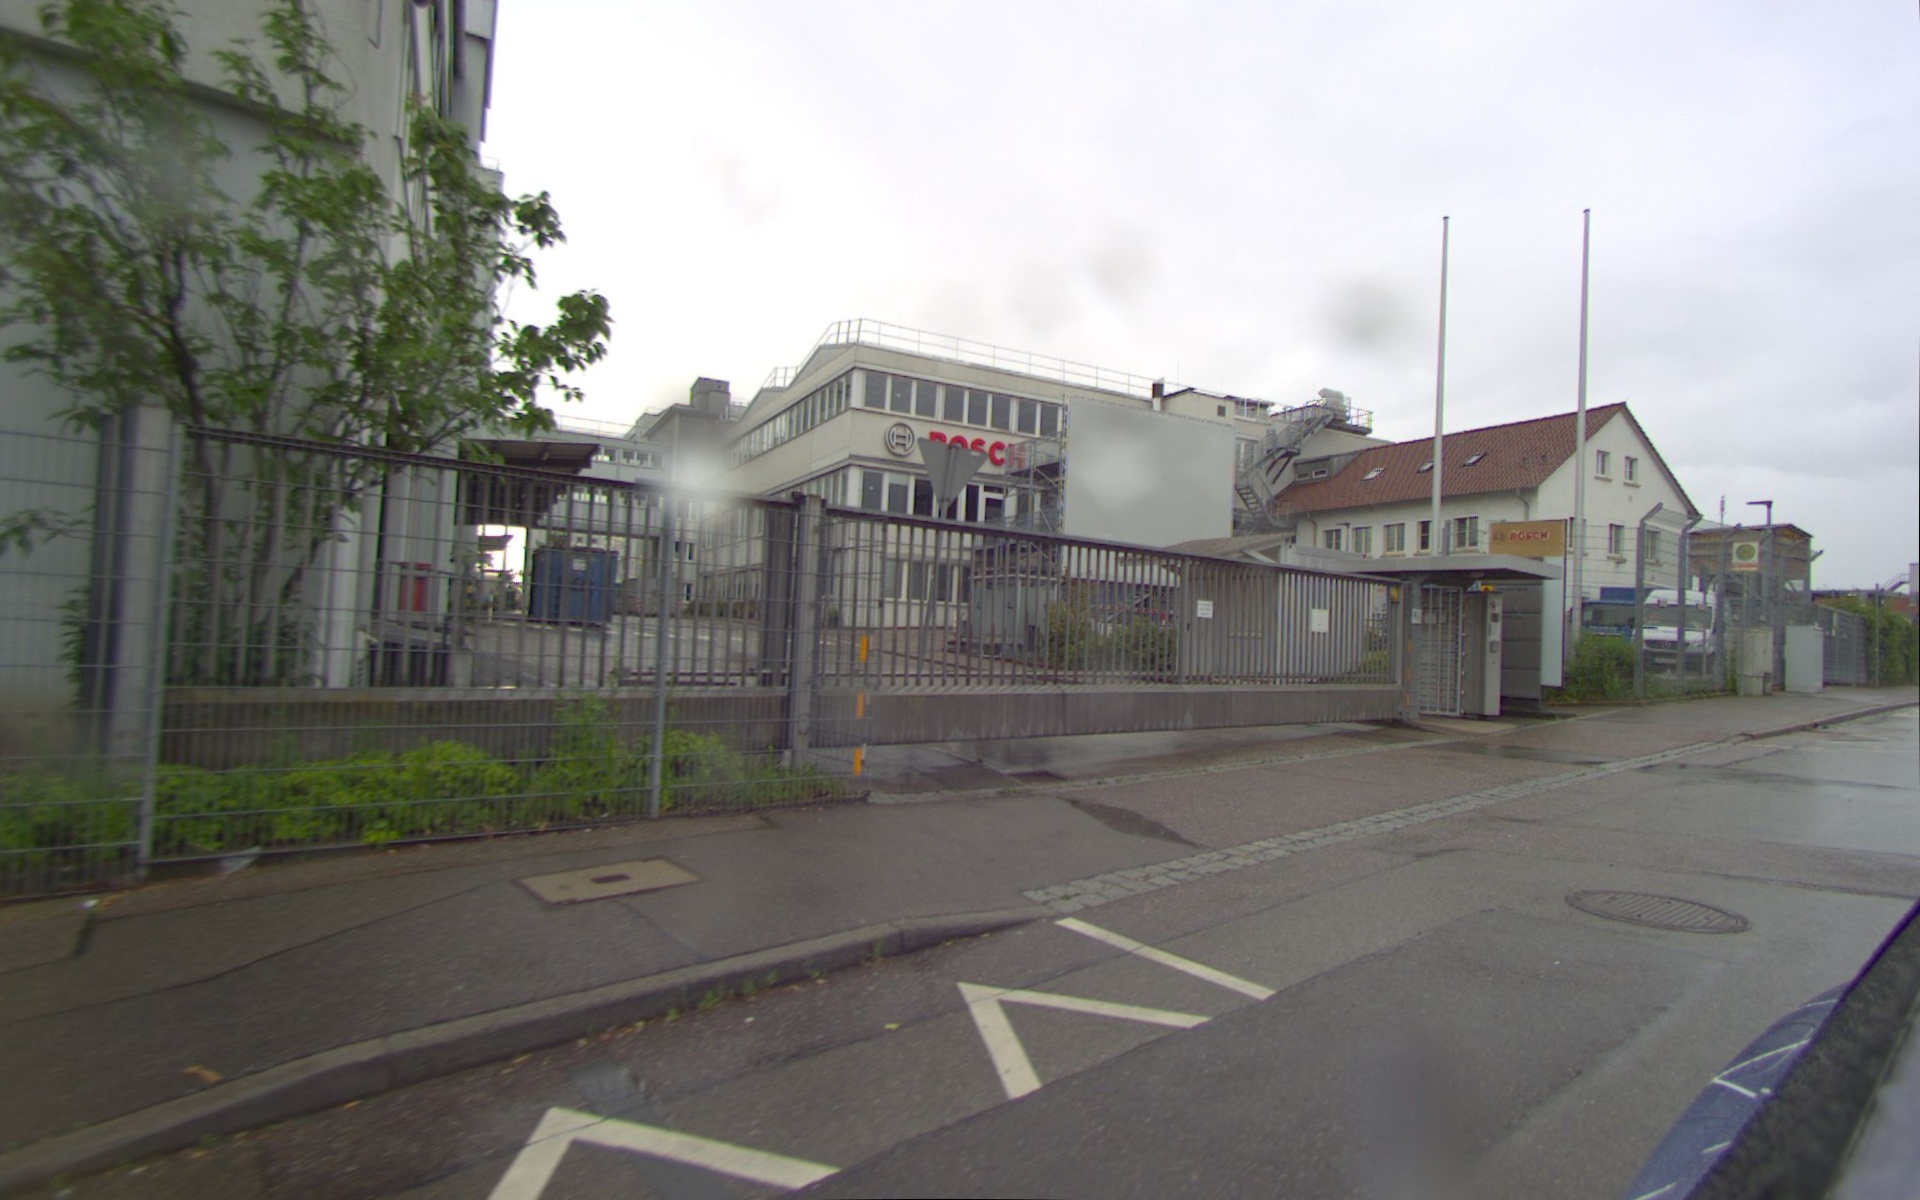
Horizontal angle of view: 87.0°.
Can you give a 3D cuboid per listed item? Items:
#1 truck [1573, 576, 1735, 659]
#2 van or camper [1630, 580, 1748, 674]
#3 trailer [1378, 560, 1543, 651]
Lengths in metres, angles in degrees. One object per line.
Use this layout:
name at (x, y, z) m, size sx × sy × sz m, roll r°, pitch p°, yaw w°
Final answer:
truck at (27.001, 0.726, 39.291) m, size 6.987 × 3.006 × 2.330 m, roll 2°, pitch -1°, yaw -29°
van or camper at (21.860, 0.788, 30.222) m, size 2.084 × 2.527 × 5.713 m, roll 2°, pitch 0°, yaw 43°
trailer at (17.082, 0.241, 34.582) m, size 4.534 × 2.929 × 2.640 m, roll 0°, pitch -3°, yaw -23°
